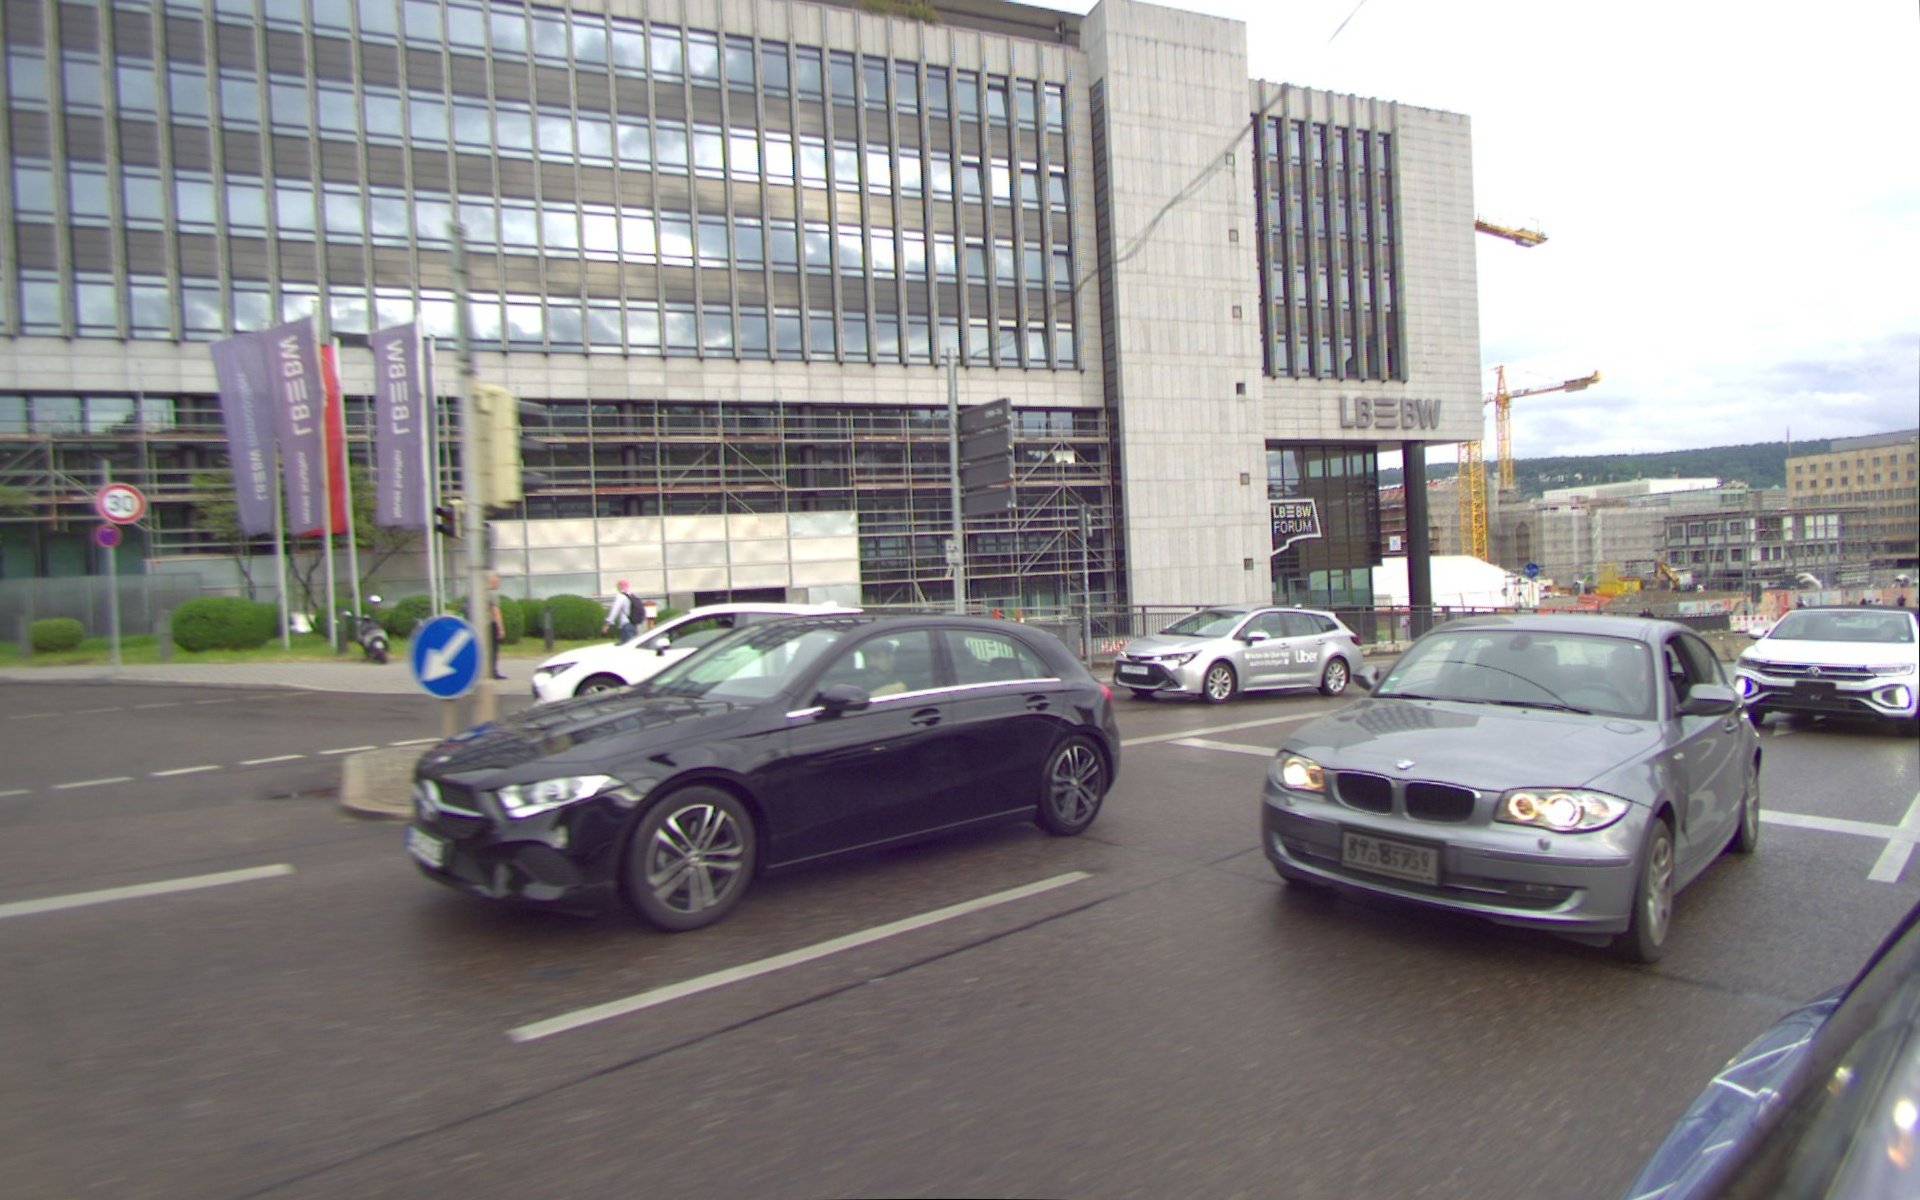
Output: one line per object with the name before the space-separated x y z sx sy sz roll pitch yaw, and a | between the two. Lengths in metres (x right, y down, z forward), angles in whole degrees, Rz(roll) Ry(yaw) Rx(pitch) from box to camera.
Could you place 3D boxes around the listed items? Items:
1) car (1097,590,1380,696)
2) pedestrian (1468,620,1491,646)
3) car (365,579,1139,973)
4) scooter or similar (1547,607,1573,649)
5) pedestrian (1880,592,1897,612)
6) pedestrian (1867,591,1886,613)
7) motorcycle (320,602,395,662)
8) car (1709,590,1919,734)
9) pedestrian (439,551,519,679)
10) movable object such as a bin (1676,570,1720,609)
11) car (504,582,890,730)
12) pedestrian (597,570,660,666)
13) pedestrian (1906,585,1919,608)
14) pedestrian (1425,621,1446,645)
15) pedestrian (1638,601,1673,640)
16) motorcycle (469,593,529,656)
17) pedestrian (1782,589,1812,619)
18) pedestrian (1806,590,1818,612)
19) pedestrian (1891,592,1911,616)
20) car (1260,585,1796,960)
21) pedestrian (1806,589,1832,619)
car | 4.457 0.656 15.955 4.524 1.470 1.707 2 -2 -32
pedestrian | 34.892 2.234 67.993 0.987 1.657 0.870 -3 1 -13
car | -0.894 0.624 5.907 4.159 1.424 1.756 -2 2 -44
scooter or similar | 17.124 0.795 28.875 0.561 1.177 0.350 -2 0 -27
pedestrian | 70.490 0.149 76.808 0.867 1.541 0.612 -3 1 -22
pedestrian | 70.078 0.148 77.376 0.987 1.572 0.718 -3 1 -22
motorcycle | -12.835 0.656 21.517 2.562 1.094 0.625 3 2 42
car | 11.569 0.664 13.056 4.141 1.568 1.969 -1 0 -37
pedestrian | -8.312 0.261 17.505 0.846 2.126 0.896 -3 -2 25
movable object such as a bin | 68.581 -0.987 94.001 4.151 3.451 1.943 -3 1 -35
car | -3.311 0.629 13.043 4.484 1.655 1.780 -1 0 -18
pedestrian | -6.229 0.320 19.010 0.829 1.732 0.730 -3 1 -42
pedestrian | 77.342 -0.267 81.862 0.987 1.840 0.870 -3 1 -22
pedestrian | 33.148 2.290 70.565 0.987 1.572 0.870 -3 1 -13
pedestrian | 30.714 0.904 44.716 1.039 1.673 0.733 -2 0 -14
motorcycle | -10.427 0.523 22.862 1.723 1.371 0.597 0 0 42
pedestrian | 47.123 0.230 56.964 0.932 1.613 0.865 -3 1 -14
pedestrian | 68.117 0.083 80.900 0.485 1.770 0.569 -3 1 -23
pedestrian | 70.934 0.326 76.299 0.873 1.744 0.781 -3 1 -22
car | 3.560 0.665 5.983 3.935 1.461 1.740 -1 0 -45
pedestrian | 47.786 0.213 56.300 0.788 1.594 0.735 -3 0 -14
